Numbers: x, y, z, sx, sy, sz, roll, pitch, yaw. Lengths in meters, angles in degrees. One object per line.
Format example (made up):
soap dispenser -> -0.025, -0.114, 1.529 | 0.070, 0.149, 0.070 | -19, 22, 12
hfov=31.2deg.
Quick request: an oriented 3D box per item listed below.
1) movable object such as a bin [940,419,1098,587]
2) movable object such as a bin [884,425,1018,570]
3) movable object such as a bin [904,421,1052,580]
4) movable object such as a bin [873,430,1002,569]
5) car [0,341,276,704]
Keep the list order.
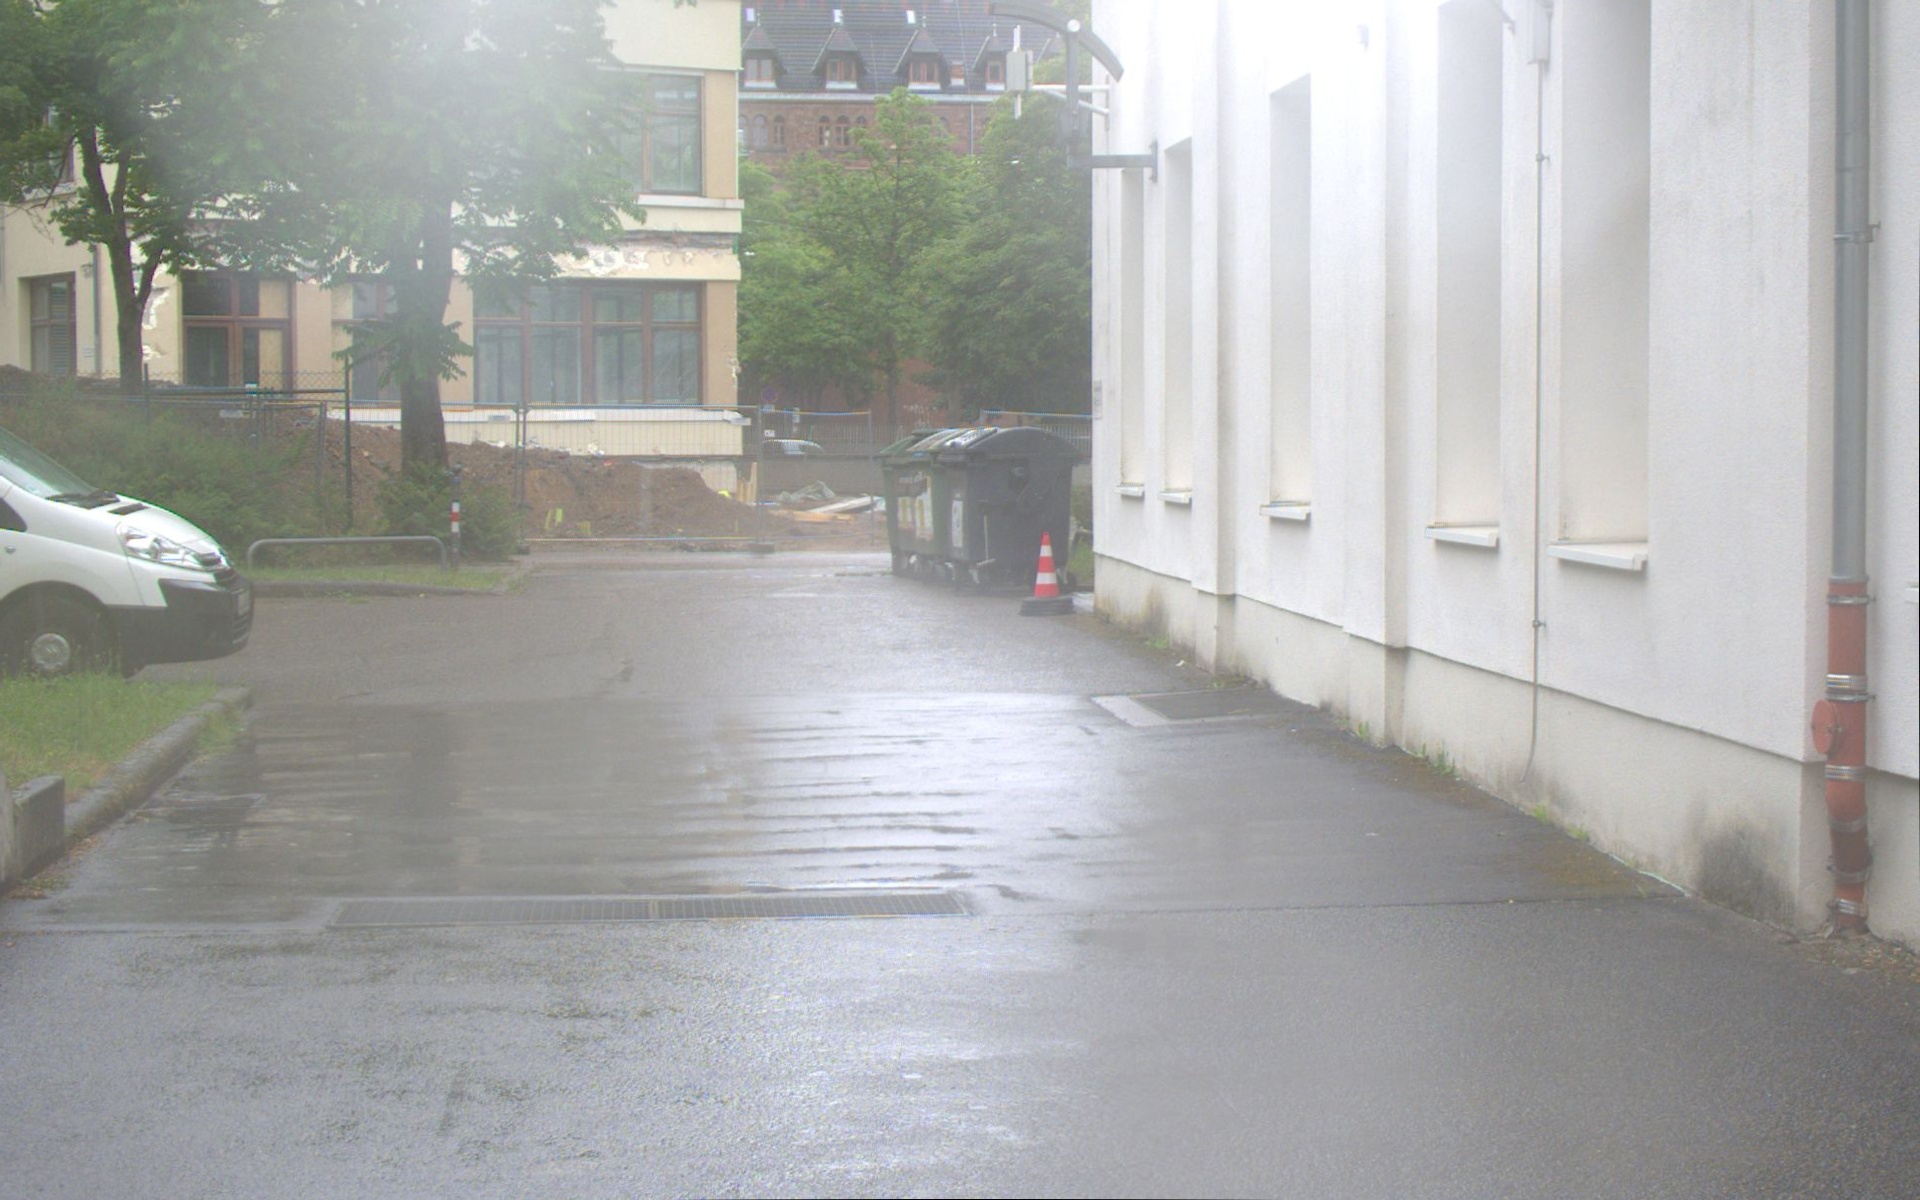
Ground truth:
movable object such as a bin -> 0.502, -0.833, 29.982 | 1.214, 1.432, 1.236 | 0, 1, -7
movable object such as a bin -> -0.099, -1.024, 34.647 | 1.214, 1.432, 1.259 | 0, 1, -7
movable object such as a bin -> 0.156, -0.907, 31.650 | 1.214, 1.432, 1.294 | 0, 1, -7
movable object such as a bin -> -0.245, -1.043, 36.019 | 1.214, 1.432, 1.259 | 0, 1, -7
car -> -6.549, -0.464, 19.995 | 4.779, 2.006, 2.001 | -1, 3, -4
